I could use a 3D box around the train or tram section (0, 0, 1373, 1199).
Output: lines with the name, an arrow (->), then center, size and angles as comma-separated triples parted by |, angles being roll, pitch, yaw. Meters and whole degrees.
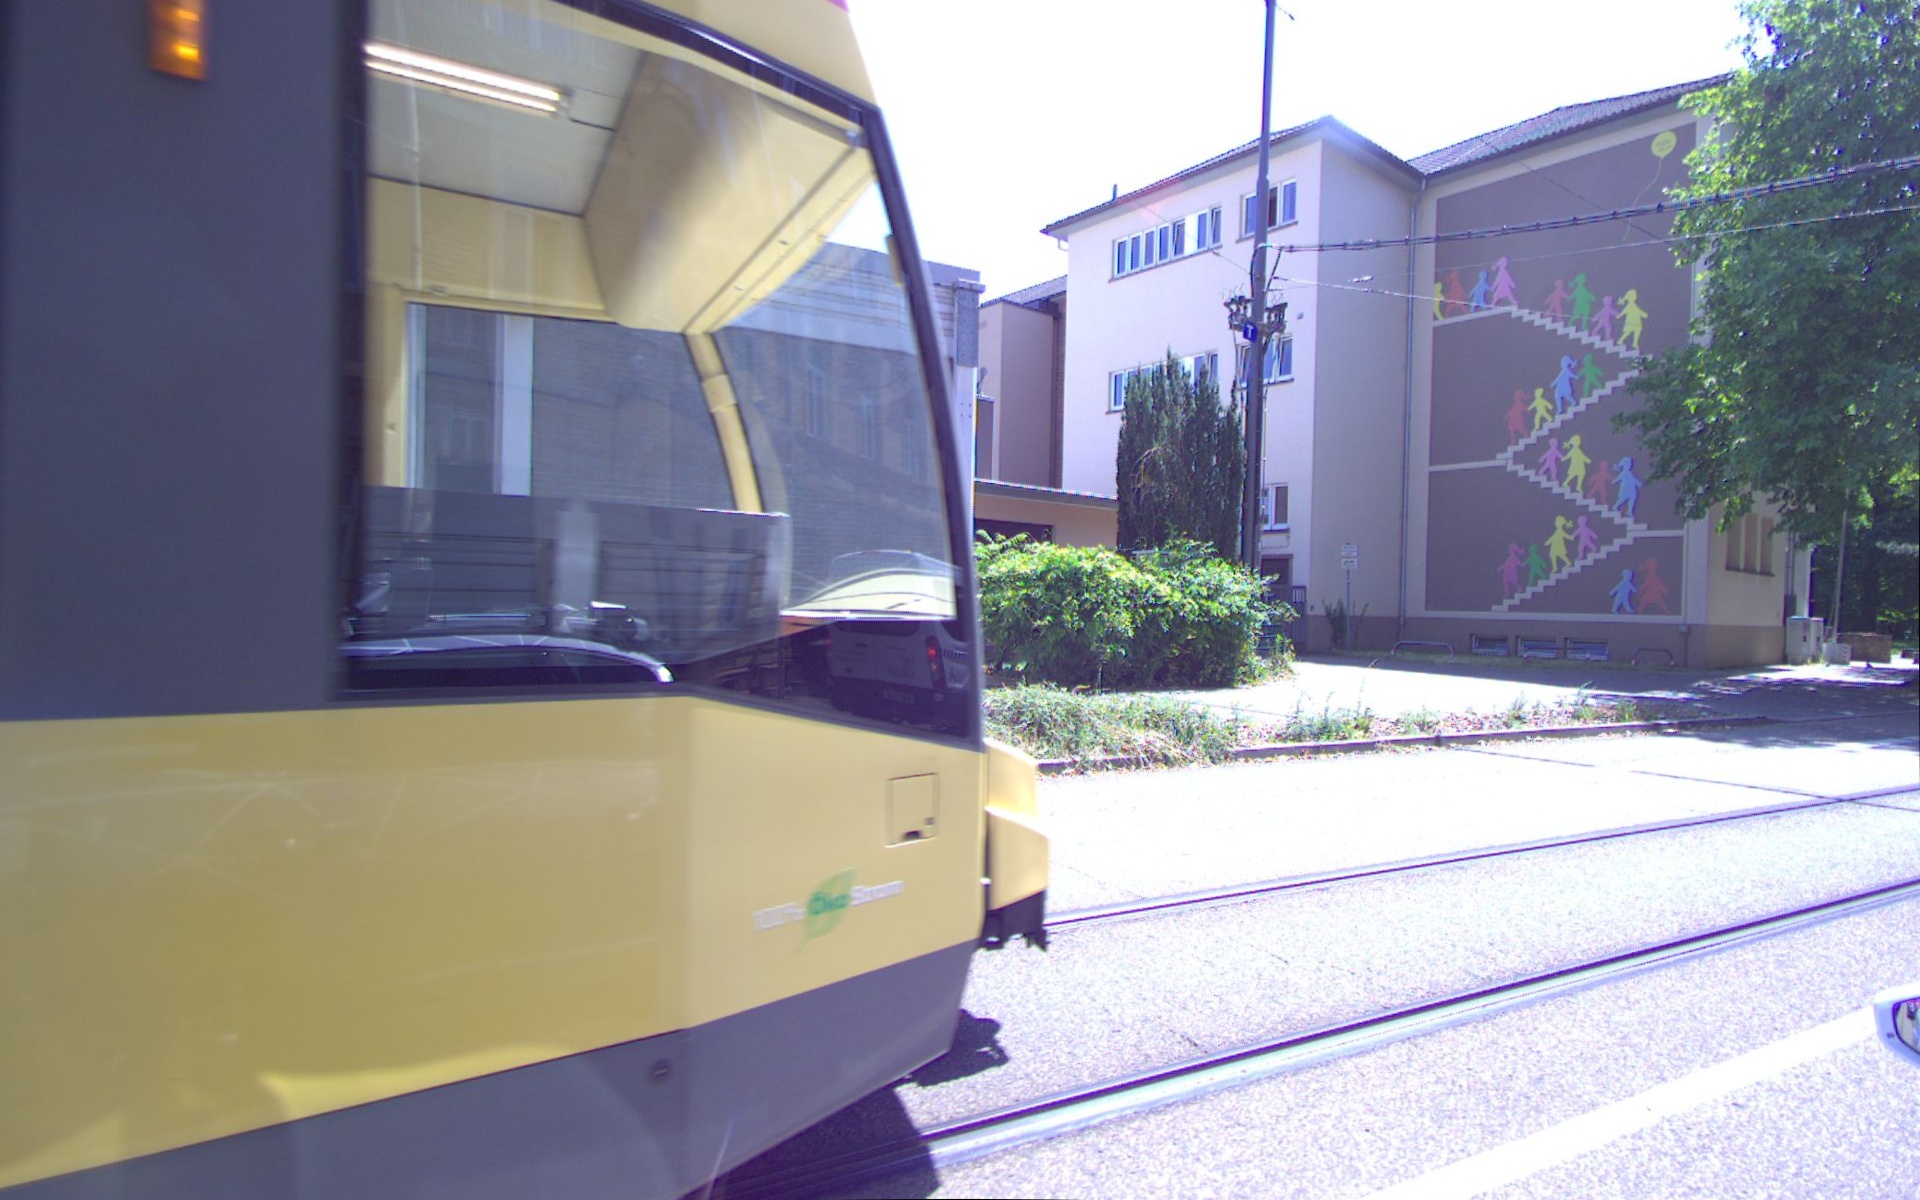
train or tram section -> -5.492, -0.423, 0.607 | 13.257, 3.628, 2.948 | 1, 0, -29
